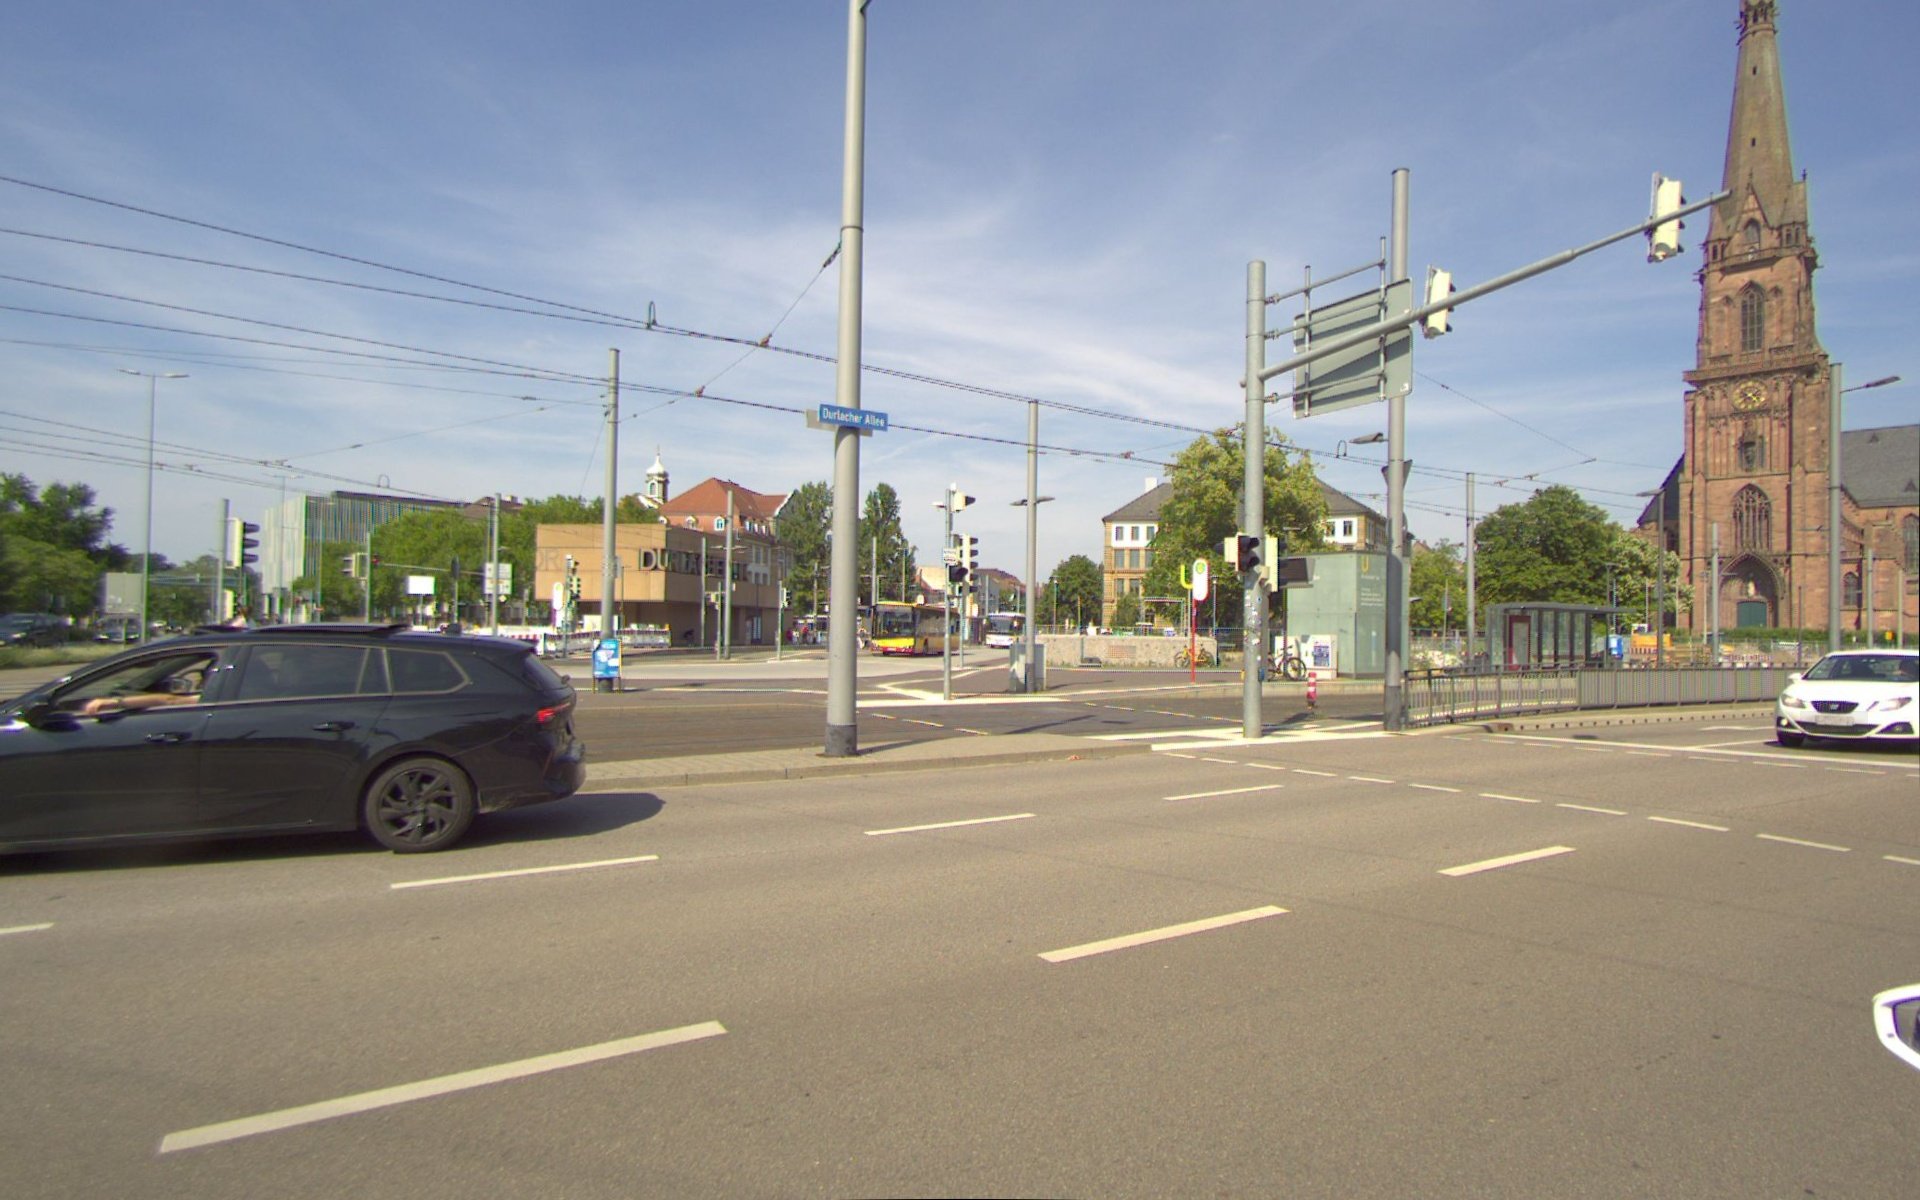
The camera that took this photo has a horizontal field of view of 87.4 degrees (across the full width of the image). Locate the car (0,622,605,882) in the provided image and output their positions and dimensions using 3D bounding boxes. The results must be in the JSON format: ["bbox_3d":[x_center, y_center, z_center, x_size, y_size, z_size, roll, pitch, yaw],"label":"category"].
[{"bbox_3d":[-4.775,0.916,6.916,4.357,1.475,1.752,1,-2,-21],"label":"car"}]

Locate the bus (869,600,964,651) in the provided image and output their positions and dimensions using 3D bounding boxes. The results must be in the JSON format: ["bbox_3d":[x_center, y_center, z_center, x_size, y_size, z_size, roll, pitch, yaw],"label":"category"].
[{"bbox_3d":[-2.369,1.440,60.557,2.703,2.718,11.796,-1,-1,13],"label":"bus"}]

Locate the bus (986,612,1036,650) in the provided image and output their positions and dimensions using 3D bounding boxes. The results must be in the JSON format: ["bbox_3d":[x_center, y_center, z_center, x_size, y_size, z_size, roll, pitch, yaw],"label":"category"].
[{"bbox_3d":[5.013,2.969,96.031,2.702,3.366,11.798,0,-2,13],"label":"bus"}]

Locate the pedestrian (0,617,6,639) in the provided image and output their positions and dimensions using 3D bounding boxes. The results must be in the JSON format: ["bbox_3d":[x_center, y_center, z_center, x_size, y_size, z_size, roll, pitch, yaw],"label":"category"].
[{"bbox_3d":[-64.673,1.847,67.560,0.638,1.466,0.563,3,-1,-36],"label":"pedestrian"}]

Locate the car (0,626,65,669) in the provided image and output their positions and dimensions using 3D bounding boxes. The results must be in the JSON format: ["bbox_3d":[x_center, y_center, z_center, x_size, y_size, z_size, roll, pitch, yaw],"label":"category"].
[{"bbox_3d":[-42.299,2.111,45.059,1.936,1.817,3.980,1,-2,-22],"label":"car"}]

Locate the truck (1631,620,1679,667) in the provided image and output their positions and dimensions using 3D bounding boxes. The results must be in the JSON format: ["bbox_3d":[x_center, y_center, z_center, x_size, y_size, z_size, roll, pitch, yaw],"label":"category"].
[{"bbox_3d":[55.158,3.430,79.713,2.979,3.616,6.023,0,-2,35],"label":"truck"}]

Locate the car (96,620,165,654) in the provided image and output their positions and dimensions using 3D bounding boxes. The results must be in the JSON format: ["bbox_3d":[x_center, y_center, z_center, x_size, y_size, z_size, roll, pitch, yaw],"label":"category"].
[{"bbox_3d":[-48.389,2.127,58.700,1.973,1.906,4.403,2,-2,-25],"label":"car"}]

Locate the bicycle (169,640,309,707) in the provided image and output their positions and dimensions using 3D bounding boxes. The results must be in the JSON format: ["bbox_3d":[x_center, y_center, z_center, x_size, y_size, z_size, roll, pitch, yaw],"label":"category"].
[{"bbox_3d":[-12.562,1.292,17.572,1.824,1.098,0.746,3,-2,-26],"label":"bicycle"}]

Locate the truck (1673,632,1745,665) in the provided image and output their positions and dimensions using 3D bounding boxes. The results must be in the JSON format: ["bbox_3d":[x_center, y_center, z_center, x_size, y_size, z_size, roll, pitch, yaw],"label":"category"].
[{"bbox_3d":[64.005,4.092,85.928,2.355,2.713,4.383,2,-2,-27],"label":"truck"}]

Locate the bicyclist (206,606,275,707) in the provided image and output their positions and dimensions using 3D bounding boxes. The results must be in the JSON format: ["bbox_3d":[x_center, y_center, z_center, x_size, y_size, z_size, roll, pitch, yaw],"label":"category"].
[{"bbox_3d":[-12.572,0.977,17.583,0.766,1.706,0.747,3,-2,-25],"label":"bicyclist"}]

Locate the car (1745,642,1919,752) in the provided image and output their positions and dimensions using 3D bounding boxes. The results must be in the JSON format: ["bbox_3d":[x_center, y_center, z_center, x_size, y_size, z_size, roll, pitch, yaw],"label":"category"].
[{"bbox_3d":[13.474,1.365,14.744,4.079,1.416,1.745,2,-5,-32],"label":"car"}]

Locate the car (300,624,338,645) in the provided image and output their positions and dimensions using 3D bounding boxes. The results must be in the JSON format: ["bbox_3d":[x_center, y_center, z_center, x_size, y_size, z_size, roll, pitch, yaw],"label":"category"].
[{"bbox_3d":[-41.576,2.210,65.254,1.578,1.304,3.974,-1,-1,-26],"label":"car"}]

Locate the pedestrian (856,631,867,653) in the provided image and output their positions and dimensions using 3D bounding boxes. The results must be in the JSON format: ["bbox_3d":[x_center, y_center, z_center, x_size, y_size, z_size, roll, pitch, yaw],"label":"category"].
[{"bbox_3d":[-6.444,2.739,65.688,0.530,1.384,0.909,-1,0,-15],"label":"pedestrian"}]

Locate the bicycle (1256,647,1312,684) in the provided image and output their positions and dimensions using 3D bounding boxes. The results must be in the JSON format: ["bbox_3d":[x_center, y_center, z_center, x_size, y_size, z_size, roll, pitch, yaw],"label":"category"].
[{"bbox_3d":[9.934,1.998,30.789,1.635,1.085,0.413,-1,-2,-14],"label":"bicycle"}]

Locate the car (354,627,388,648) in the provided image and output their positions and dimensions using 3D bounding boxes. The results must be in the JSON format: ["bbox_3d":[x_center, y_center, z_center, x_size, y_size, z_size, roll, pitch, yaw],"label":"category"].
[{"bbox_3d":[-38.513,2.426,65.738,1.578,1.304,3.974,-1,-1,-26],"label":"car"}]
